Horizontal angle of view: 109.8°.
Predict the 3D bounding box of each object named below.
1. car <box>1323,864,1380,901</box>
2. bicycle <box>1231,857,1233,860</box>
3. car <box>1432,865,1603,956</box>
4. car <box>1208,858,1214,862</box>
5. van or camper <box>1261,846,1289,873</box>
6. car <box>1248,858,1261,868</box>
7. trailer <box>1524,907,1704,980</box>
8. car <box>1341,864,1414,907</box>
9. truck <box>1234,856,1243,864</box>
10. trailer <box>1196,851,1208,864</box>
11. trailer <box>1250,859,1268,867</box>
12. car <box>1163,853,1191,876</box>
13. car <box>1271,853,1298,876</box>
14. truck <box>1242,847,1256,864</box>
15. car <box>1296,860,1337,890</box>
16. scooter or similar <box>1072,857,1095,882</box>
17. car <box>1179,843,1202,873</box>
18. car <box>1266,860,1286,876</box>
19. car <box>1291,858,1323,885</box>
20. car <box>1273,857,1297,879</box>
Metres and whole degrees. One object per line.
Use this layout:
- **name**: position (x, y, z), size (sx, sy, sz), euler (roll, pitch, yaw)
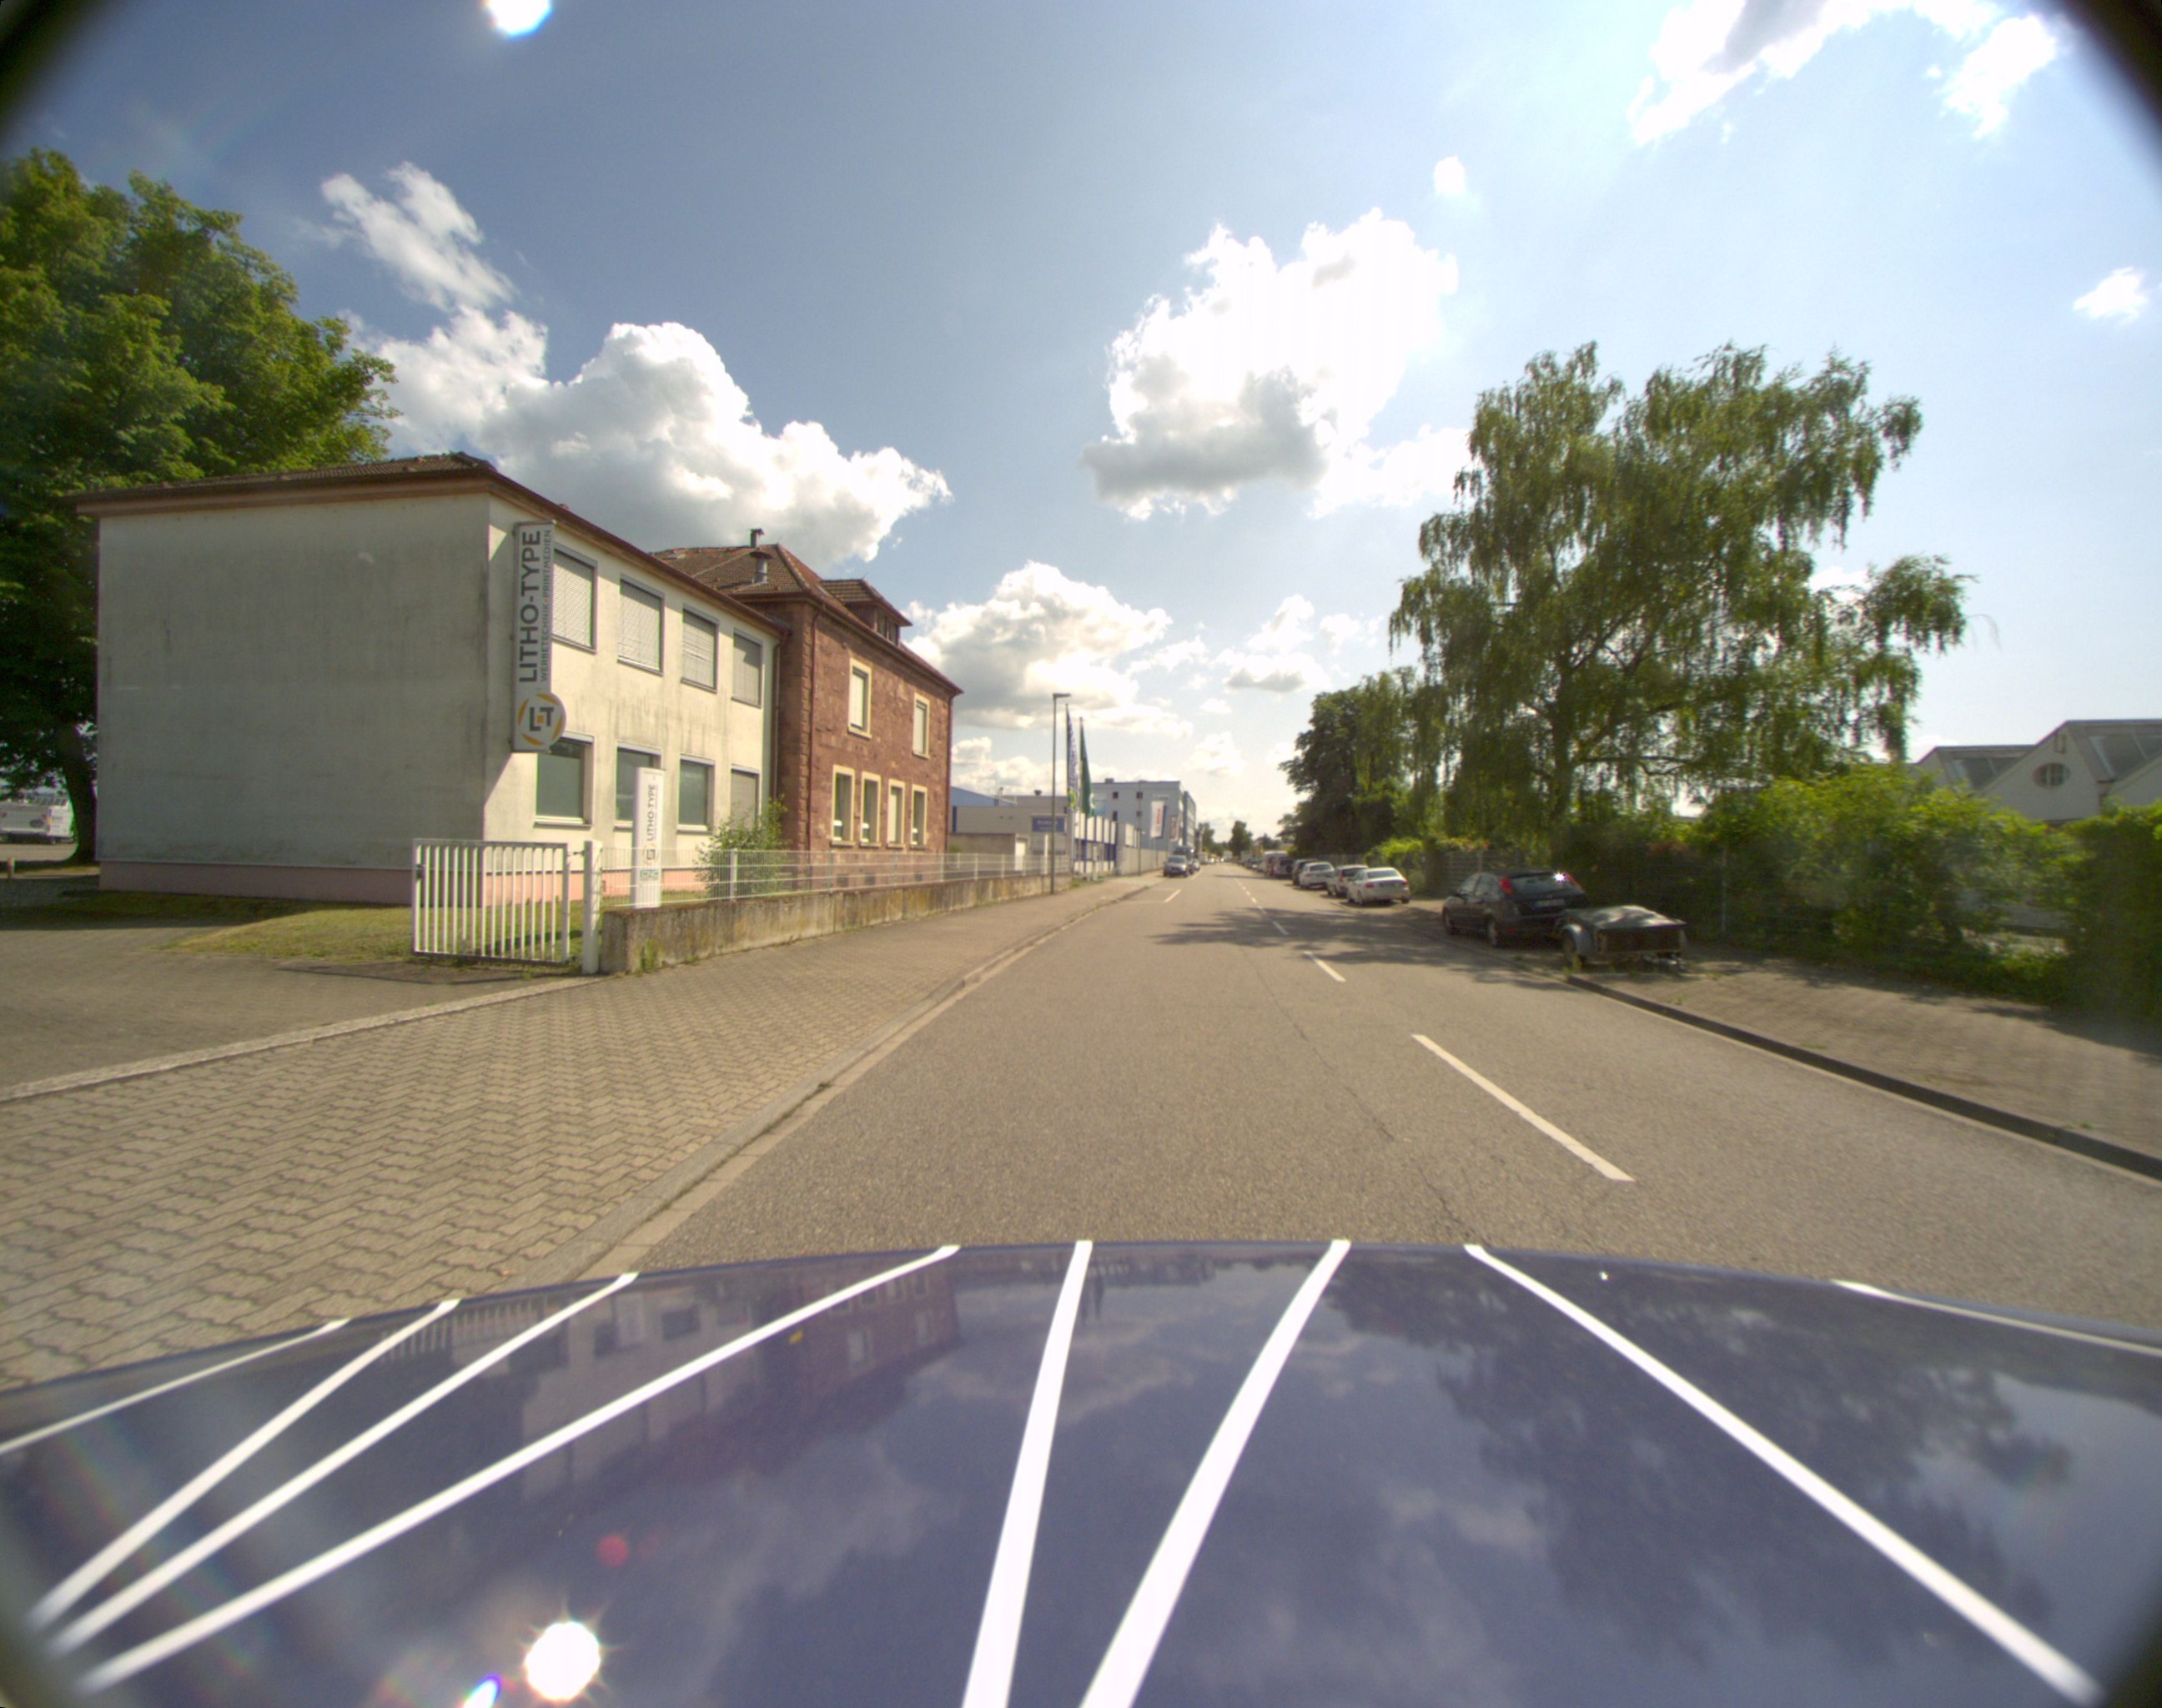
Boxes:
- **car**: position (12.758, 1.285, 36.122), size (1.797, 1.518, 4.663), euler (2, 0, 10)
- **bicycle**: position (40.698, 1.143, 204.770), size (0.588, 0.737, 2.127), euler (2, 0, 13)
- **car**: position (8.878, 1.065, 15.866), size (1.685, 1.503, 4.160), euler (-3, 0, 9)
- **car**: position (39.670, 1.859, 232.200), size (1.656, 1.324, 4.003), euler (1, 0, 10)
- **van or camper**: position (21.347, 0.622, 83.902), size (2.267, 2.787, 6.838), euler (-2, 0, 9)
- **car**: position (26.463, 1.336, 116.113), size (1.580, 1.504, 4.204), euler (1, 0, 8)
- **trailer**: position (8.458, 1.400, 12.283), size (1.467, 0.846, 2.469), euler (-3, 0, 11)
- **car**: position (11.664, 1.197, 30.186), size (1.727, 1.468, 4.635), euler (-3, -1, 9)
- **truck**: position (42.617, 1.568, 205.246), size (2.131, 2.225, 7.357), euler (-1, -1, 13)
- **trailer**: position (23.998, 0.691, 150.223), size (1.871, 2.538, 5.077), euler (2, 0, 13)
- **trailer**: position (25.102, 1.251, 107.530), size (2.275, 0.878, 7.138), euler (-3, 0, 11)
- **car**: position (7.532, 0.767, 59.393), size (1.828, 1.655, 4.560), euler (2, 0, 11)
- **car**: position (18.986, 0.905, 71.083), size (1.901, 1.943, 4.962), euler (-4, 0, 10)
- **truck**: position (35.442, 0.325, 160.591), size (2.254, 3.341, 6.913), euler (-3, -1, 10)
- **car**: position (13.643, 1.154, 44.189), size (1.703, 1.585, 4.791), euler (2, 0, 11)
- **scooter or similar**: position (0.114, 0.787, 39.565), size (1.146, 1.238, 0.259), euler (2, 1, 28)
- **car**: position (10.774, 0.373, 74.488), size (1.941, 2.732, 6.159), euler (2, 0, 10)
- **car**: position (19.694, 1.409, 76.799), size (1.627, 1.523, 4.272), euler (-2, 0, 10)
- **car**: position (14.802, 1.112, 50.006), size (1.613, 1.735, 4.640), euler (0, 0, 12)
- **car**: position (17.363, 1.171, 64.708), size (1.702, 1.791, 3.830), euler (-2, -1, 12)
